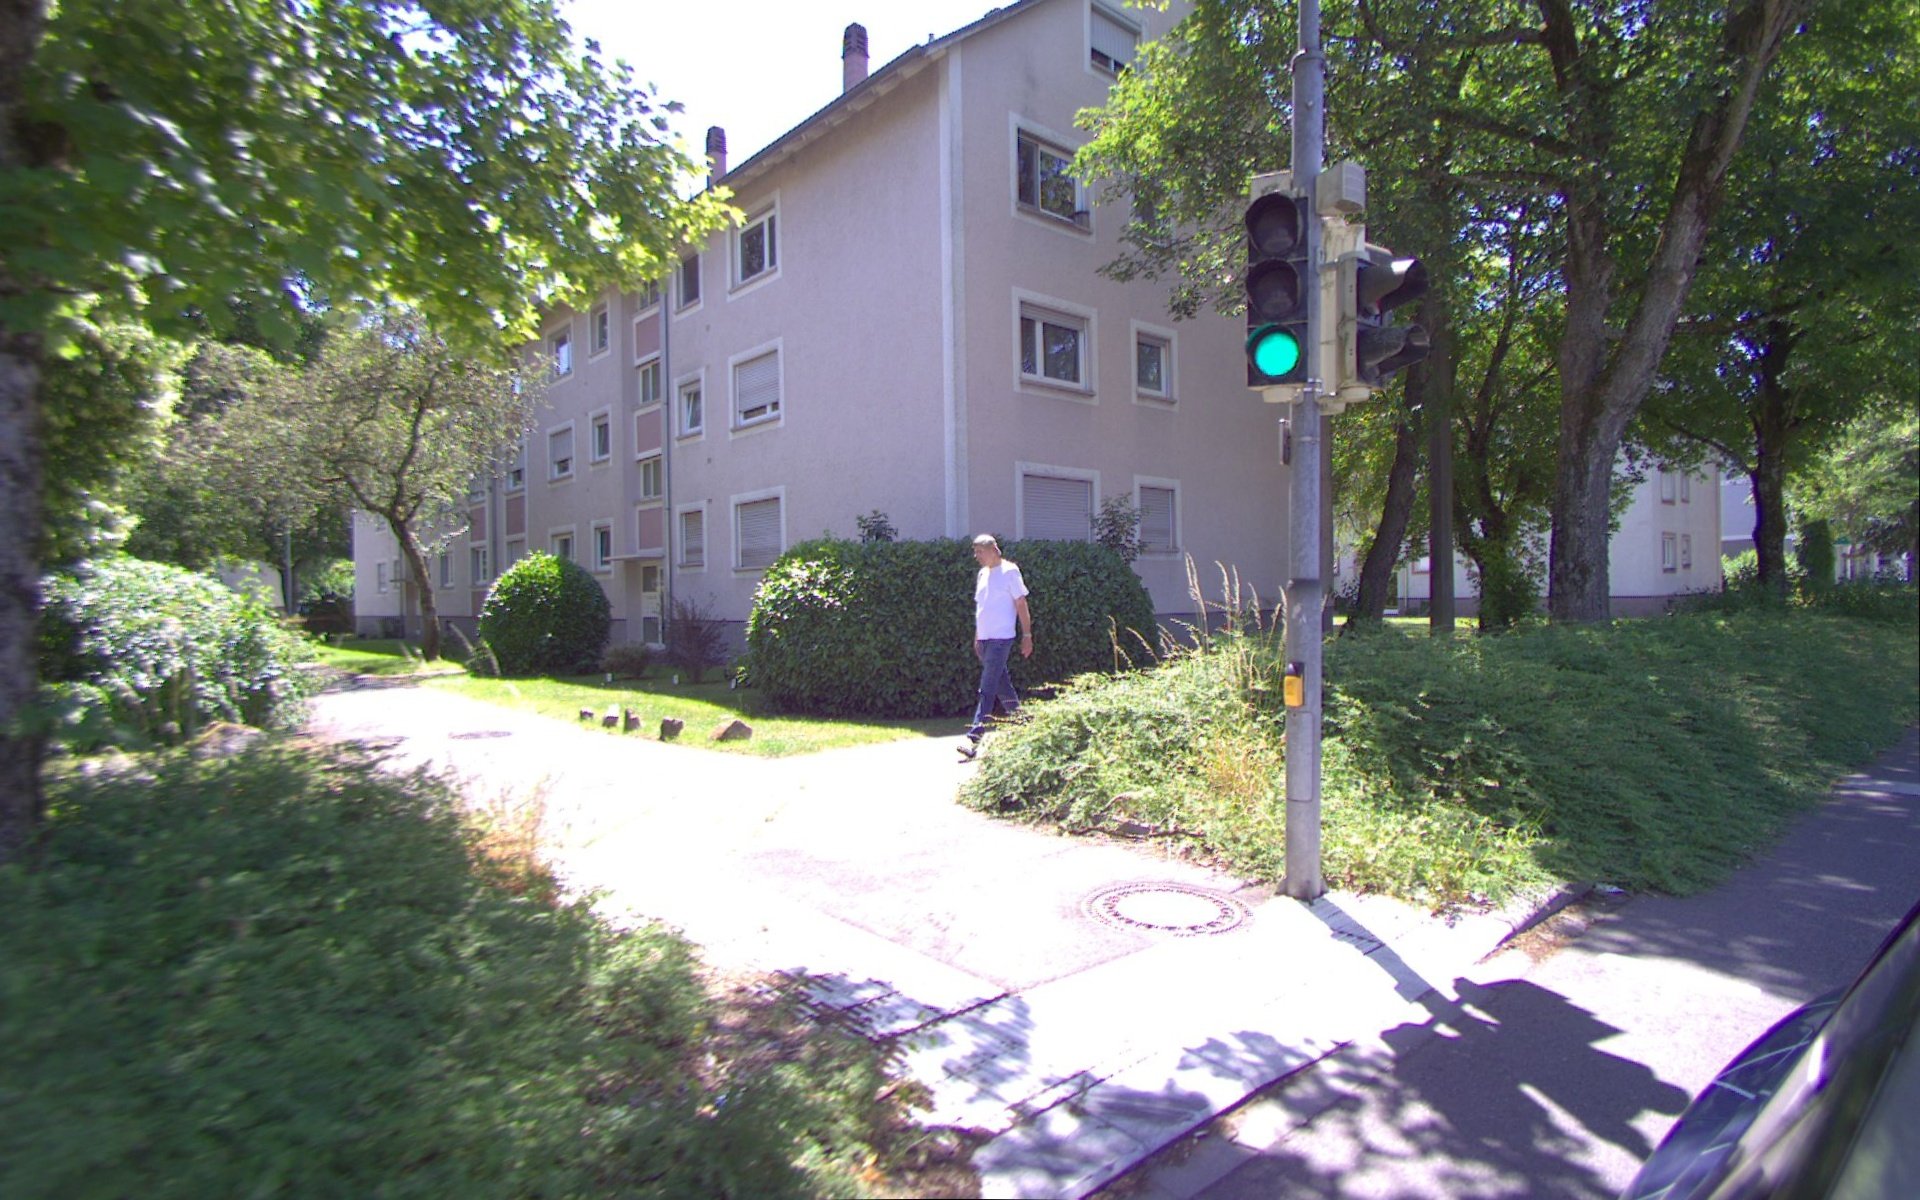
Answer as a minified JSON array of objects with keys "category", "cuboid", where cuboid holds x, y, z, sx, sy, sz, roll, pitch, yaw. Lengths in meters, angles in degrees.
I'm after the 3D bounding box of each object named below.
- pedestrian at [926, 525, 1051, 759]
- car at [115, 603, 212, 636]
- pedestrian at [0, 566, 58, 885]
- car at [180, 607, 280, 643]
[{"category":"pedestrian","cuboid":[0.261,0.338,8.760,0.668,1.897,0.893,-2,0,30]},{"category":"car","cuboid":[-42.956,1.023,54.627,4.073,1.647,1.686,-2,1,-41]},{"category":"pedestrian","cuboid":[-5.369,0.651,5.329,0.717,1.653,0.839,0,1,42]},{"category":"car","cuboid":[-37.652,1.241,52.227,4.073,1.647,1.686,-2,1,-41]}]
